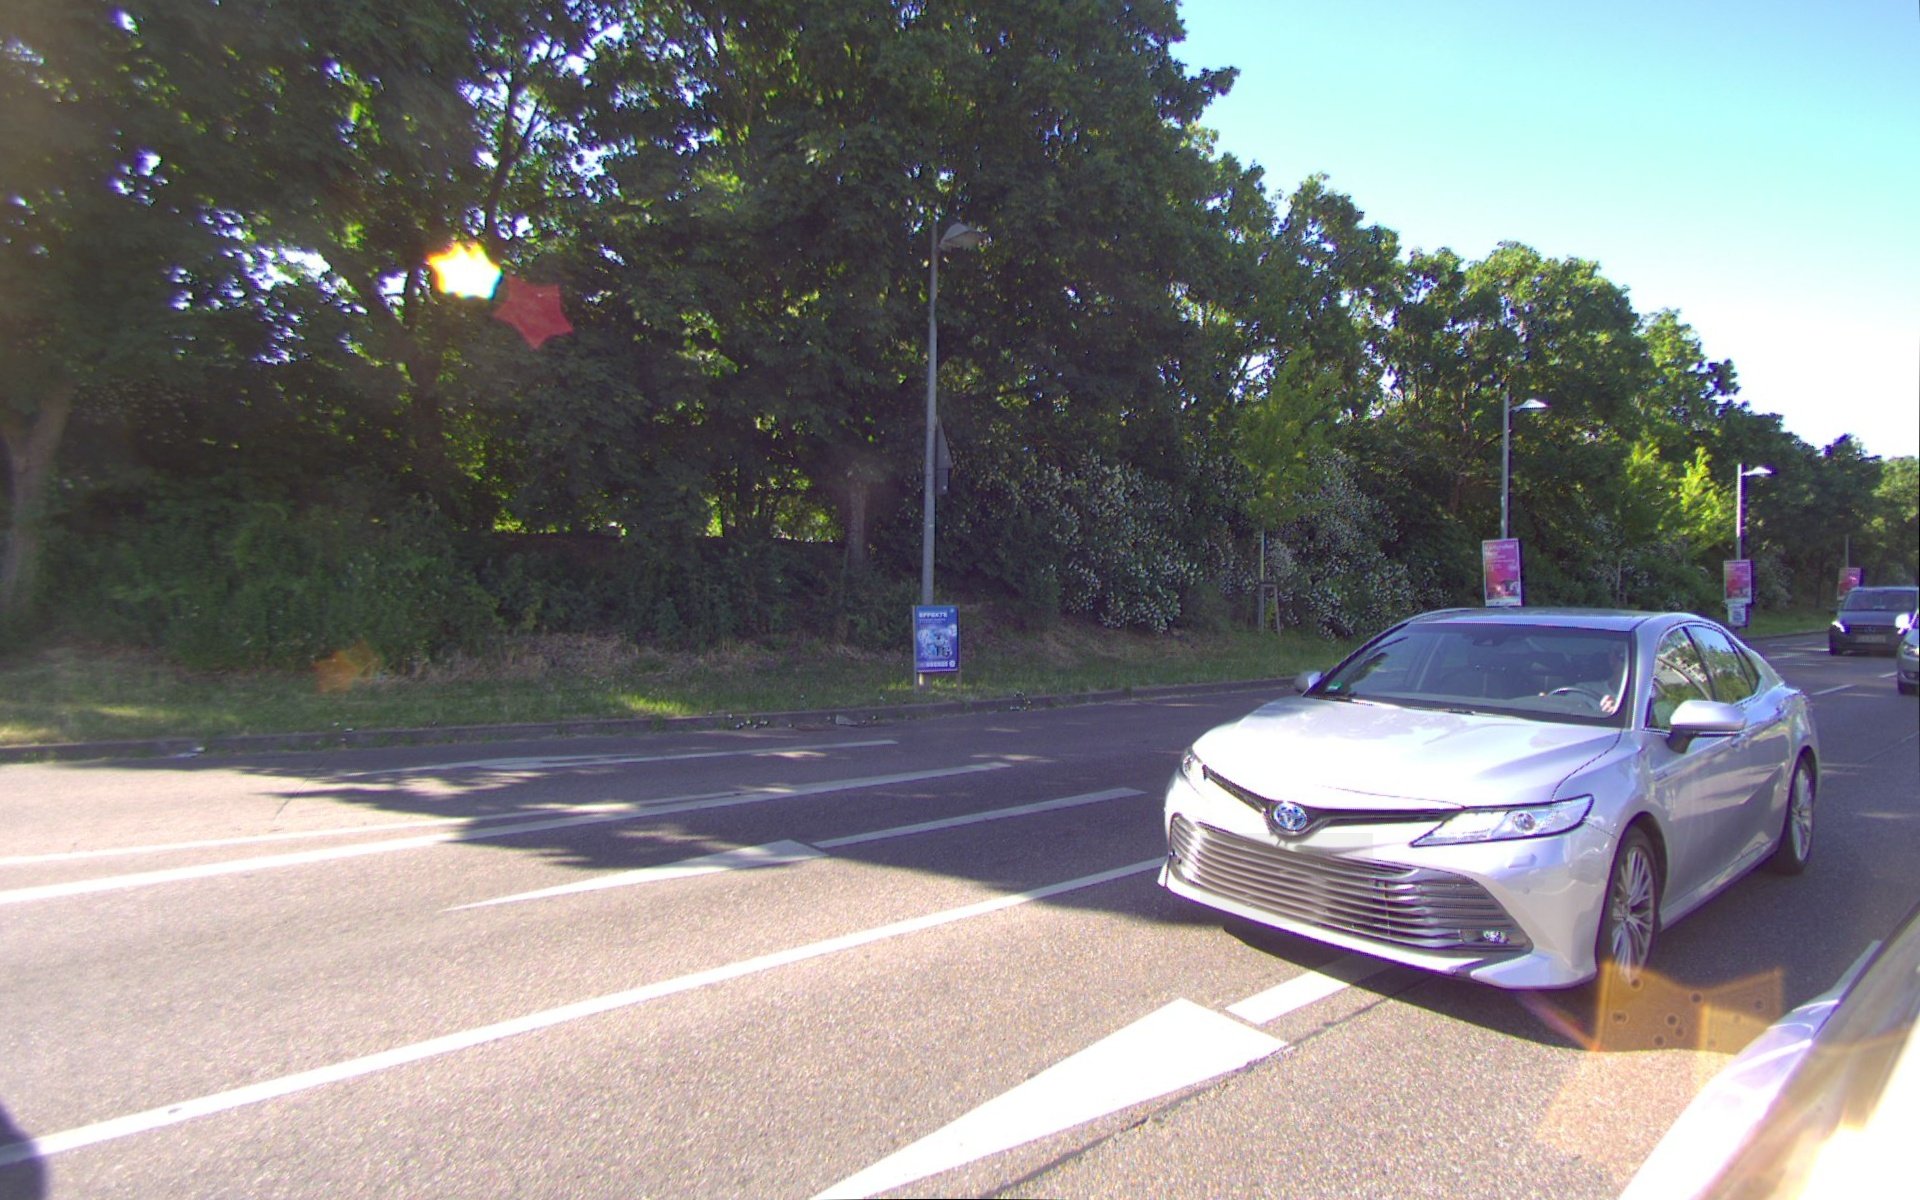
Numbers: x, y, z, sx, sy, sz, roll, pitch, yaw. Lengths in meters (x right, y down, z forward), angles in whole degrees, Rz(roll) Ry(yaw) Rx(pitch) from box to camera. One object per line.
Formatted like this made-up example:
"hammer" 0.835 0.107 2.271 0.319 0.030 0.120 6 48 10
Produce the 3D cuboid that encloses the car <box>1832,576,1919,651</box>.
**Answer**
"car" 26.004 0.321 28.054 5.056 1.917 1.998 0 1 -40

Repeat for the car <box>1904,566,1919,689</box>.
"car" 17.239 0.447 16.721 4.539 1.928 1.822 0 1 -40

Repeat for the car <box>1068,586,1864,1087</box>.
"car" 2.947 0.695 5.350 4.664 1.477 2.069 0 2 -40
